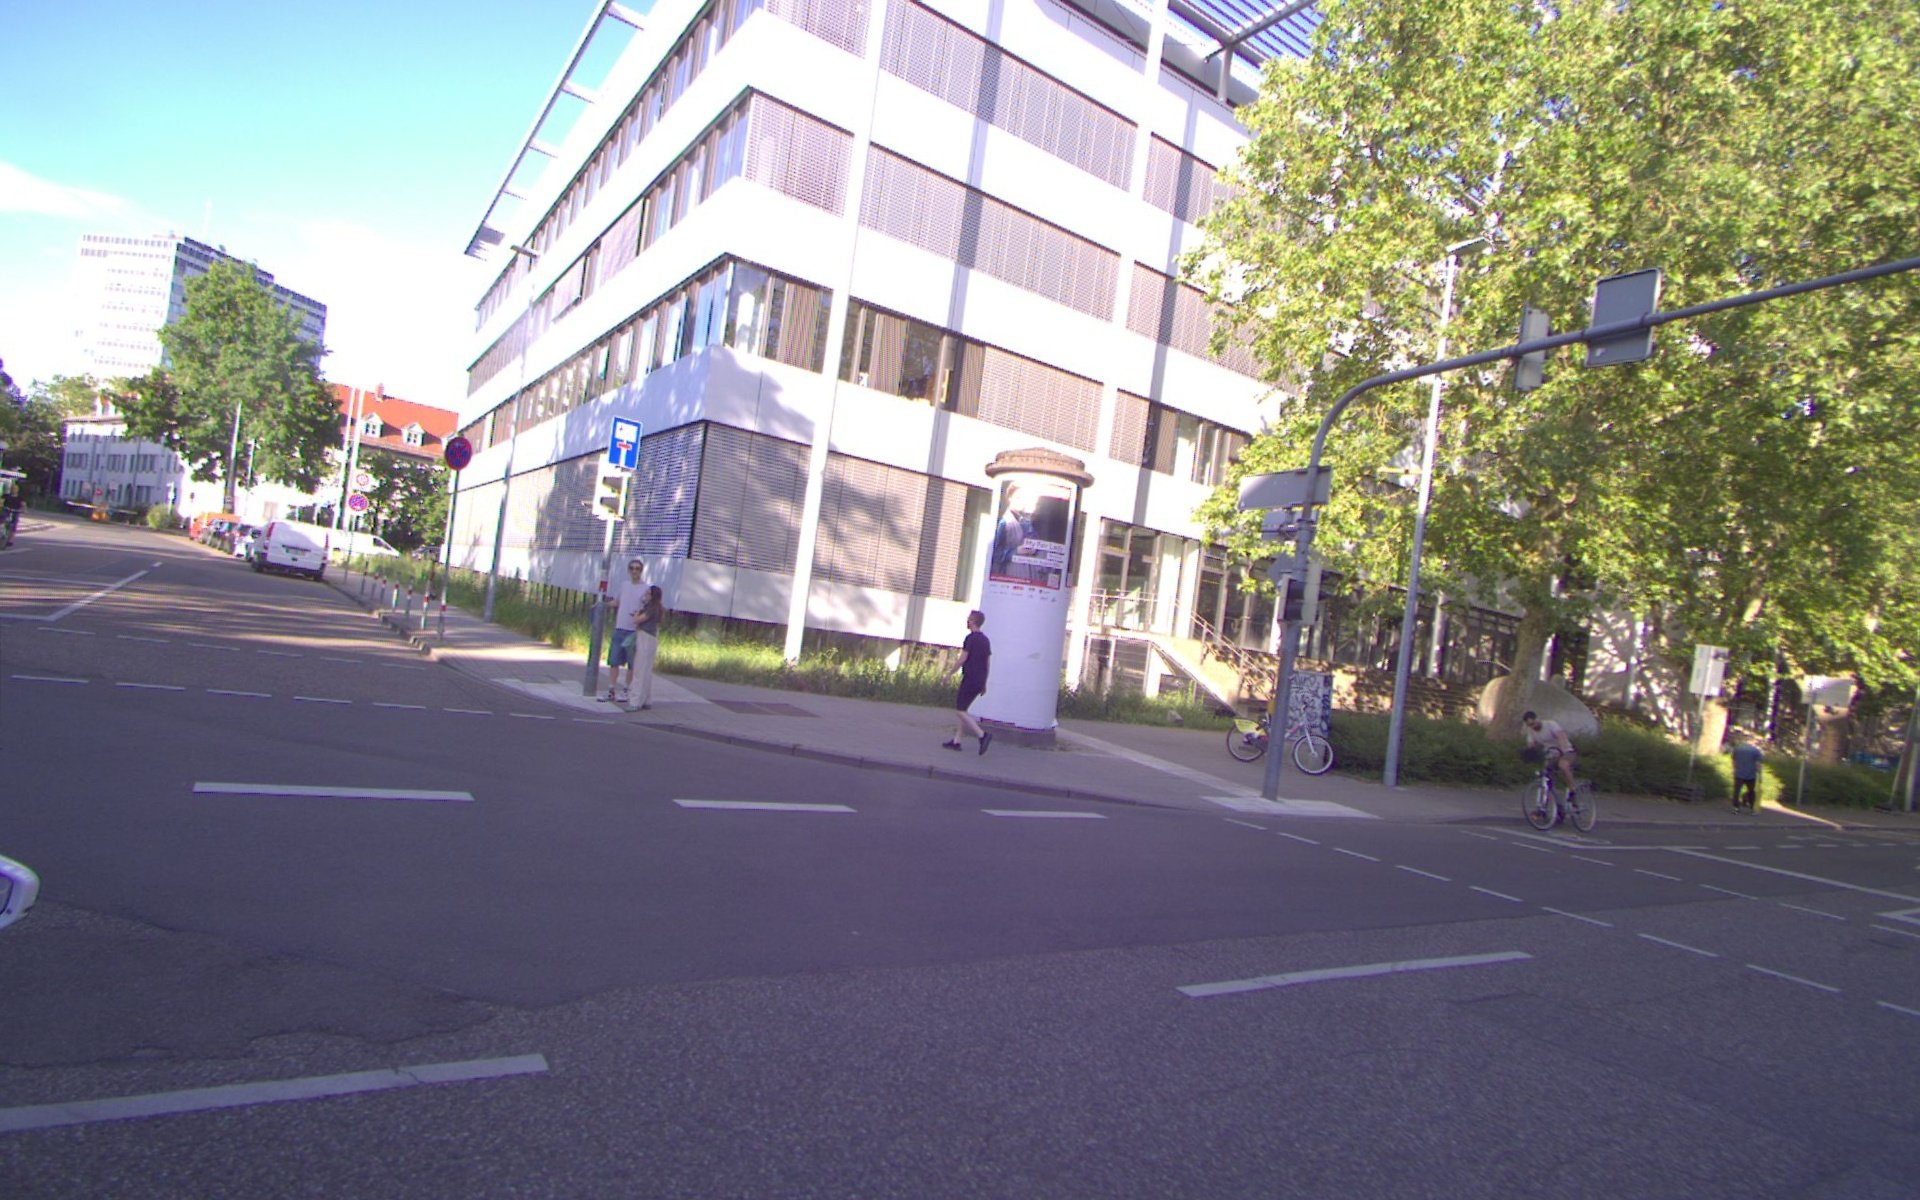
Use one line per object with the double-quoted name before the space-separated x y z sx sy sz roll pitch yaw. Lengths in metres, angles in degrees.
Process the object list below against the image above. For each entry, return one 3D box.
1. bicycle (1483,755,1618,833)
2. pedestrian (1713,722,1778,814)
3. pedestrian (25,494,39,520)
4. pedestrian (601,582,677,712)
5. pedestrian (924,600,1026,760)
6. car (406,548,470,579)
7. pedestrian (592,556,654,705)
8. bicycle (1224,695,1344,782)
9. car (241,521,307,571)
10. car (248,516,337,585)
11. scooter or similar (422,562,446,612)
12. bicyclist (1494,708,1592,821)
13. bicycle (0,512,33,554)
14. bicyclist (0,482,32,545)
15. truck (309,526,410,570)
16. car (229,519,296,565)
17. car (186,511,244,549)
"bicycle" 8.929 2.936 15.188 2.095 0.938 0.726 9 -1 -29
"pedestrian" 17.323 3.704 22.189 0.830 1.860 0.703 10 -1 -33
"pedestrian" -63.059 -6.319 68.351 0.544 1.697 0.470 7 0 -44
"pedestrian" -4.062 0.587 12.706 0.668 1.561 0.557 7 2 44
"pedestrian" 0.182 0.994 12.691 0.701 1.860 0.831 10 -1 -28
"car" -36.690 -2.548 70.702 1.538 1.564 3.550 7 -2 43
"pedestrian" -4.408 0.389 13.192 0.552 1.875 0.675 5 2 -11
"bicycle" 5.267 2.233 16.388 1.658 1.063 0.508 10 2 28
"car" -27.561 -2.200 40.358 1.880 1.574 4.369 9 -1 -37
"car" -22.586 -1.721 33.961 2.076 1.816 4.369 9 -1 -37
"scooter or similar" -15.907 -0.409 30.430 0.328 1.439 1.323 10 -2 -33
"bicyclist" 8.712 2.447 15.035 0.945 1.506 0.743 8 -1 -29
"bicycle" -25.081 -1.796 26.389 0.861 1.022 2.389 5 0 -38
"bicyclist" -24.903 -2.267 26.225 0.861 1.534 1.008 5 1 -38
"truck" -40.128 -3.438 67.316 1.974 2.036 5.331 7 -2 43
"car" -30.955 -2.601 44.586 1.882 1.574 4.364 10 -1 -40
"car" -42.700 -4.034 57.640 4.356 1.675 1.885 8 -1 44
